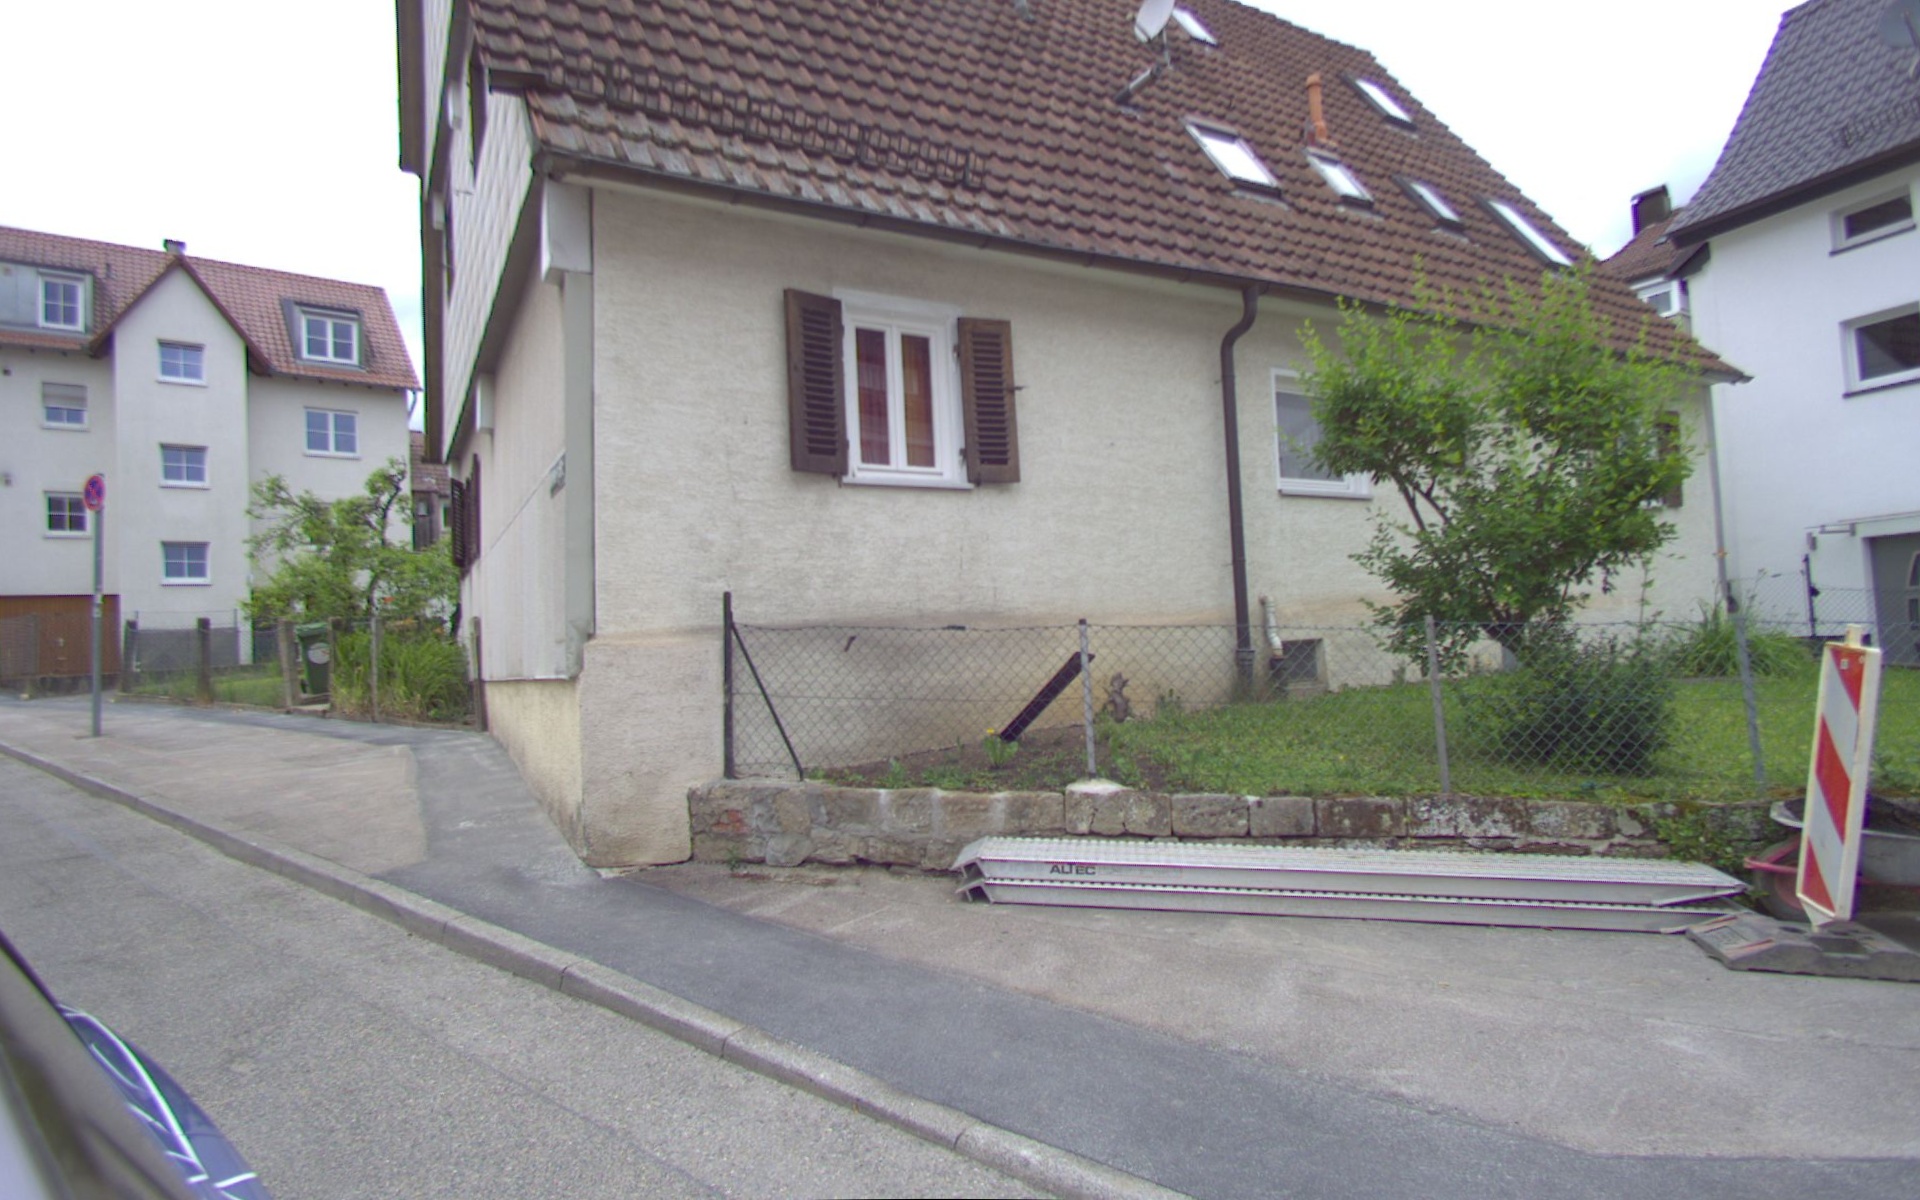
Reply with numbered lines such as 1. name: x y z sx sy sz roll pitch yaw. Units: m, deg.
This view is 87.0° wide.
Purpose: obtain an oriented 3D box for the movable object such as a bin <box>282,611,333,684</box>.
1. movable object such as a bin: -8.612 0.612 13.367 0.519 0.890 0.491 -4 3 -33

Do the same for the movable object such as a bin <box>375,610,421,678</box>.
1. movable object such as a bin: -7.848 0.608 14.123 0.488 0.884 0.454 -4 3 -32
